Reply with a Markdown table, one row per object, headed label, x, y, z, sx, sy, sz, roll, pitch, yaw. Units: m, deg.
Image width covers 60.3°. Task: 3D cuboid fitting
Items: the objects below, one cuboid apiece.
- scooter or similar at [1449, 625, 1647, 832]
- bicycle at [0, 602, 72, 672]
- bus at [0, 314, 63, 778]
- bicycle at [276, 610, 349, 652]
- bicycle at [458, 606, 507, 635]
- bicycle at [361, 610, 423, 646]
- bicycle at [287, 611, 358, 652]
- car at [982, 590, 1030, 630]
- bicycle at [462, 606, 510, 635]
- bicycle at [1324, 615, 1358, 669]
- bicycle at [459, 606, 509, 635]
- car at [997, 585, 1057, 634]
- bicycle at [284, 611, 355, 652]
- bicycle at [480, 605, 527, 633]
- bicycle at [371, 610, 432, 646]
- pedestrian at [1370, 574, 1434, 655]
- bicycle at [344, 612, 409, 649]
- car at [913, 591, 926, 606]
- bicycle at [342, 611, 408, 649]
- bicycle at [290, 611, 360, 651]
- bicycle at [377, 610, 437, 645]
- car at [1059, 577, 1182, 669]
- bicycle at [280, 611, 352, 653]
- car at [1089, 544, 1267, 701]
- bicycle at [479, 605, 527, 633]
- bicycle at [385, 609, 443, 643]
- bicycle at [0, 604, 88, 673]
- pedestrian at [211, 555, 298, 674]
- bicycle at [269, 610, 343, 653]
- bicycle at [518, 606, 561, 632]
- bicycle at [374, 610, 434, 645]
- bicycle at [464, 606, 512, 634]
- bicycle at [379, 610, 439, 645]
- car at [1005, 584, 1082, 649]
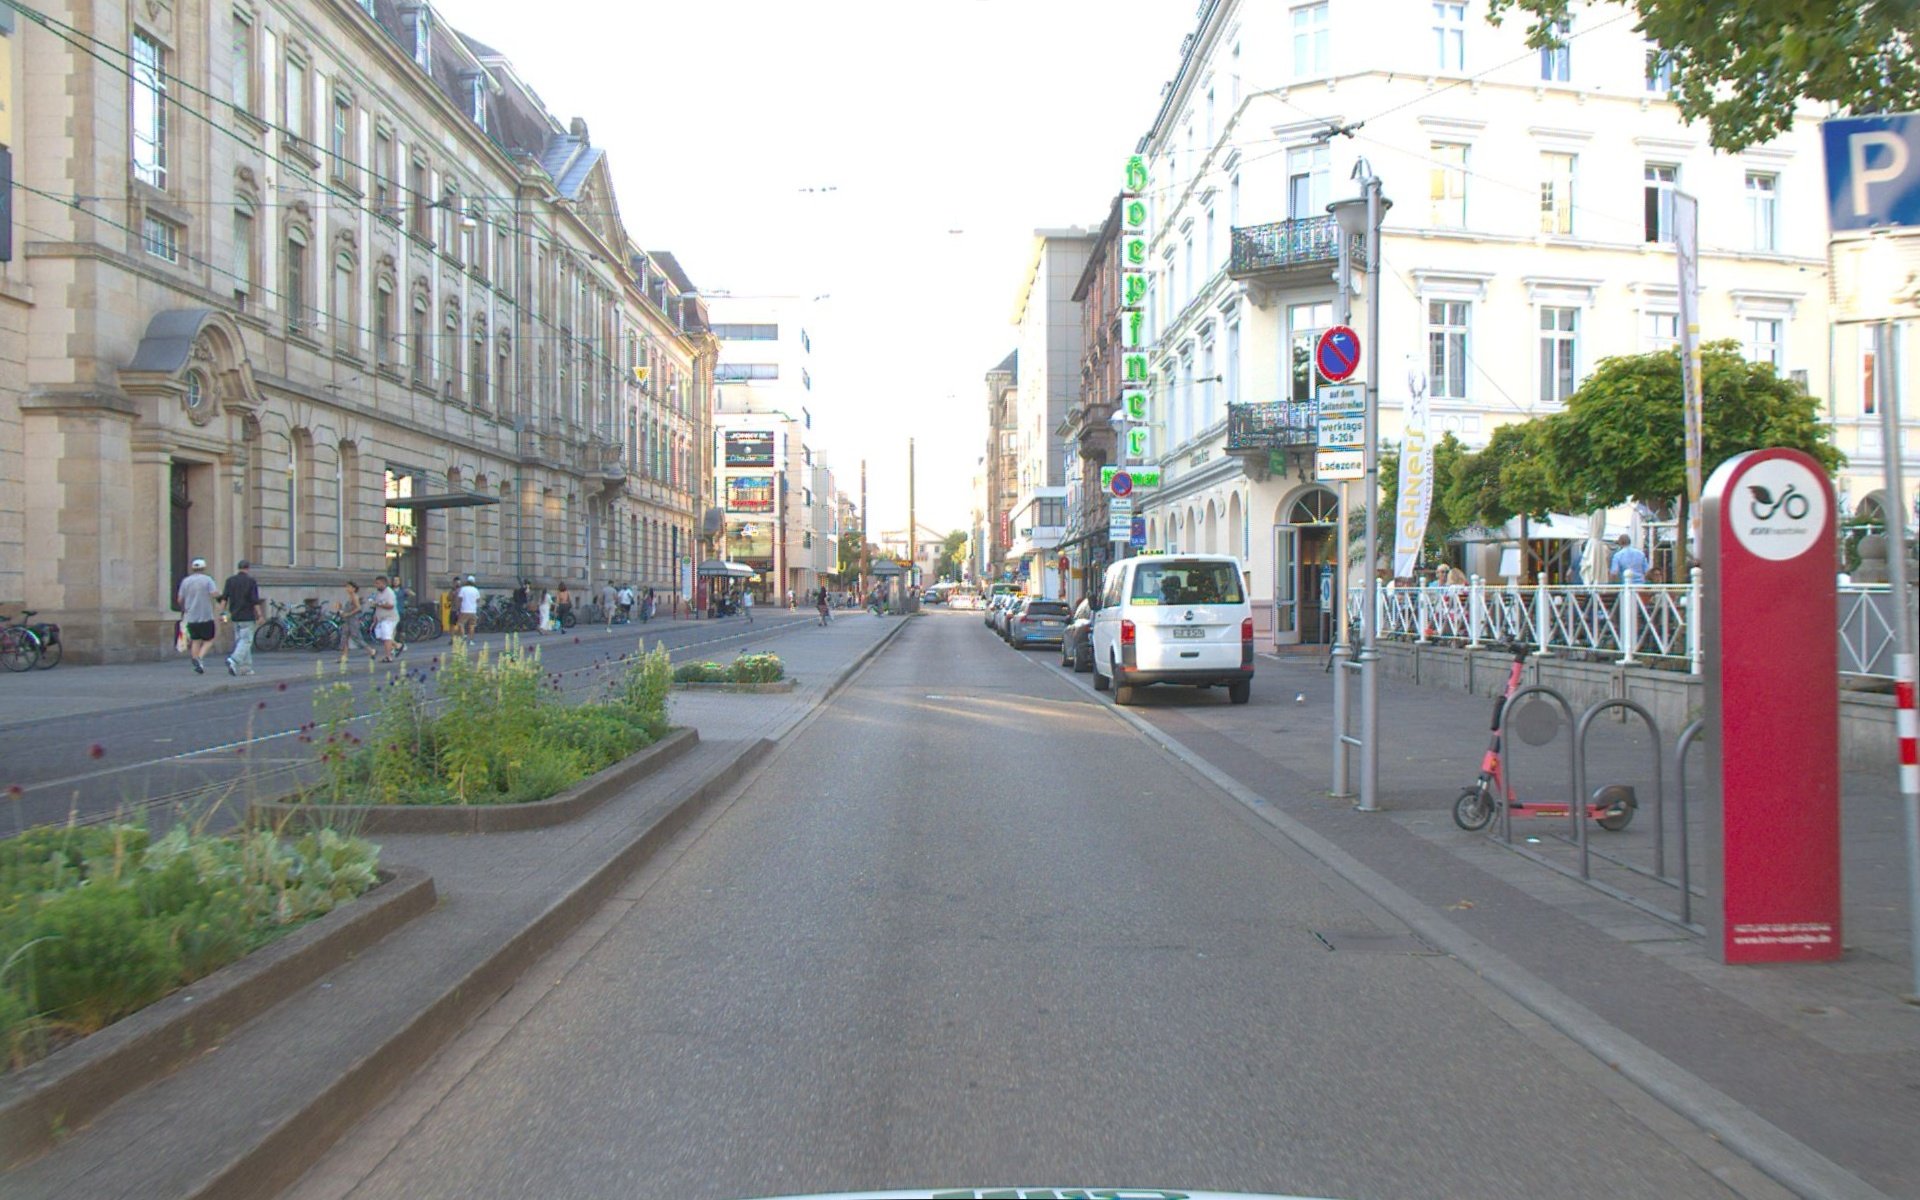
| label | x | y | z | sx | sy | sz | roll | pitch | yaw |
| --- | --- | --- | --- | --- | --- | --- | --- | --- | --- |
| scooter or similar | 3.655 | 0.791 | 10.313 | 1.102 | 1.237 | 0.300 | -2 | 0 | 0 |
| bicycle | -16.301 | 0.640 | 28.107 | 2.056 | 1.168 | 0.574 | 0 | -2 | -6 |
| bus | -8.937 | -0.426 | 8.068 | 2.765 | 3.675 | 11.821 | 0 | 0 | 0 |
| bicycle | -15.152 | 0.733 | 38.721 | 1.555 | 0.965 | 0.358 | 0 | -1 | -13 |
| bicycle | -15.850 | 0.675 | 54.920 | 1.555 | 0.965 | 0.358 | 0 | -2 | -13 |
| bicycle | -15.420 | 0.757 | 44.900 | 1.555 | 0.965 | 0.358 | 0 | -2 | -13 |
| bicycle | -15.393 | 0.758 | 39.970 | 1.555 | 0.965 | 0.358 | 0 | -2 | -13 |
| car | 2.027 | 0.456 | 74.343 | 1.953 | 1.696 | 4.419 | 0 | -1 | -1 |
| bicycle | -15.979 | 0.679 | 55.769 | 1.555 | 0.965 | 0.358 | 0 | -2 | -13 |
| bicycle | 6.694 | 0.734 | 29.096 | 0.245 | 0.918 | 1.373 | 0 | -2 | -1 |
| bicycle | -15.932 | 0.681 | 55.369 | 1.554 | 0.965 | 0.358 | 0 | -2 | -12 |
| car | 2.443 | 0.383 | 61.201 | 1.953 | 1.696 | 4.419 | 0 | -1 | -1 |
| bicycle | -15.312 | 0.756 | 39.563 | 1.555 | 0.965 | 0.358 | 0 | -2 | -13 |
| bicycle | -15.968 | 0.656 | 57.865 | 1.555 | 0.965 | 0.358 | 0 | -2 | -13 |
| bicycle | -15.324 | 0.763 | 45.376 | 1.555 | 0.965 | 0.358 | 0 | -2 | -13 |
| pedestrian | 7.431 | 0.256 | 27.827 | 0.806 | 1.329 | 0.869 | 0 | -2 | -2 |
| bicycle | -15.233 | 0.790 | 43.219 | 1.555 | 0.965 | 0.358 | 0 | -1 | -13 |
| car | -5.207 | -0.154 | 212.962 | 1.725 | 1.859 | 3.569 | 0 | -2 | -1 |
| bicycle | -15.128 | 0.786 | 42.786 | 1.555 | 0.965 | 0.358 | 0 | -2 | -13 |
| bicycle | -15.488 | 0.765 | 40.371 | 1.555 | 0.965 | 0.358 | 0 | -2 | -13 |
| bicycle | -15.467 | 0.766 | 46.248 | 1.555 | 0.965 | 0.358 | 0 | -2 | -13 |
| car | 3.121 | 0.451 | 32.972 | 1.953 | 1.696 | 4.420 | 0 | -1 | -1 |
| bicycle | -15.226 | 0.750 | 39.117 | 1.555 | 0.965 | 0.358 | 0 | -2 | -13 |
| car | 2.992 | 0.294 | 23.569 | 1.876 | 2.016 | 4.420 | 0 | 0 | -1 |
| bicycle | -15.857 | 0.648 | 57.406 | 1.555 | 0.965 | 0.358 | 0 | -2 | -13 |
| bicycle | -15.698 | 0.751 | 47.595 | 1.555 | 0.965 | 0.358 | 0 | -2 | -13 |
| bicycle | -16.372 | 0.672 | 28.771 | 2.037 | 1.168 | 0.574 | 0 | -2 | -6 |
| pedestrian | -11.144 | 0.241 | 26.150 | 0.943 | 1.842 | 0.906 | -1 | -2 | 5 |
| bicycle | -15.085 | 0.721 | 38.181 | 1.555 | 0.965 | 0.358 | 0 | 0 | -13 |
| bicycle | -15.792 | 0.702 | 62.184 | 1.555 | 0.965 | 0.358 | 0 | -2 | -13 |
| bicycle | -15.394 | 0.756 | 45.810 | 1.555 | 0.965 | 0.358 | 0 | -2 | -13 |
| bicycle | -16.042 | 0.678 | 56.201 | 1.555 | 0.965 | 0.358 | 0 | -2 | -13 |
| bicycle | -15.551 | 0.769 | 46.703 | 1.555 | 0.965 | 0.358 | 0 | -2 | -13 |
| car | 2.400 | 0.459 | 48.358 | 1.953 | 1.791 | 4.420 | 0 | 0 | -1 |
